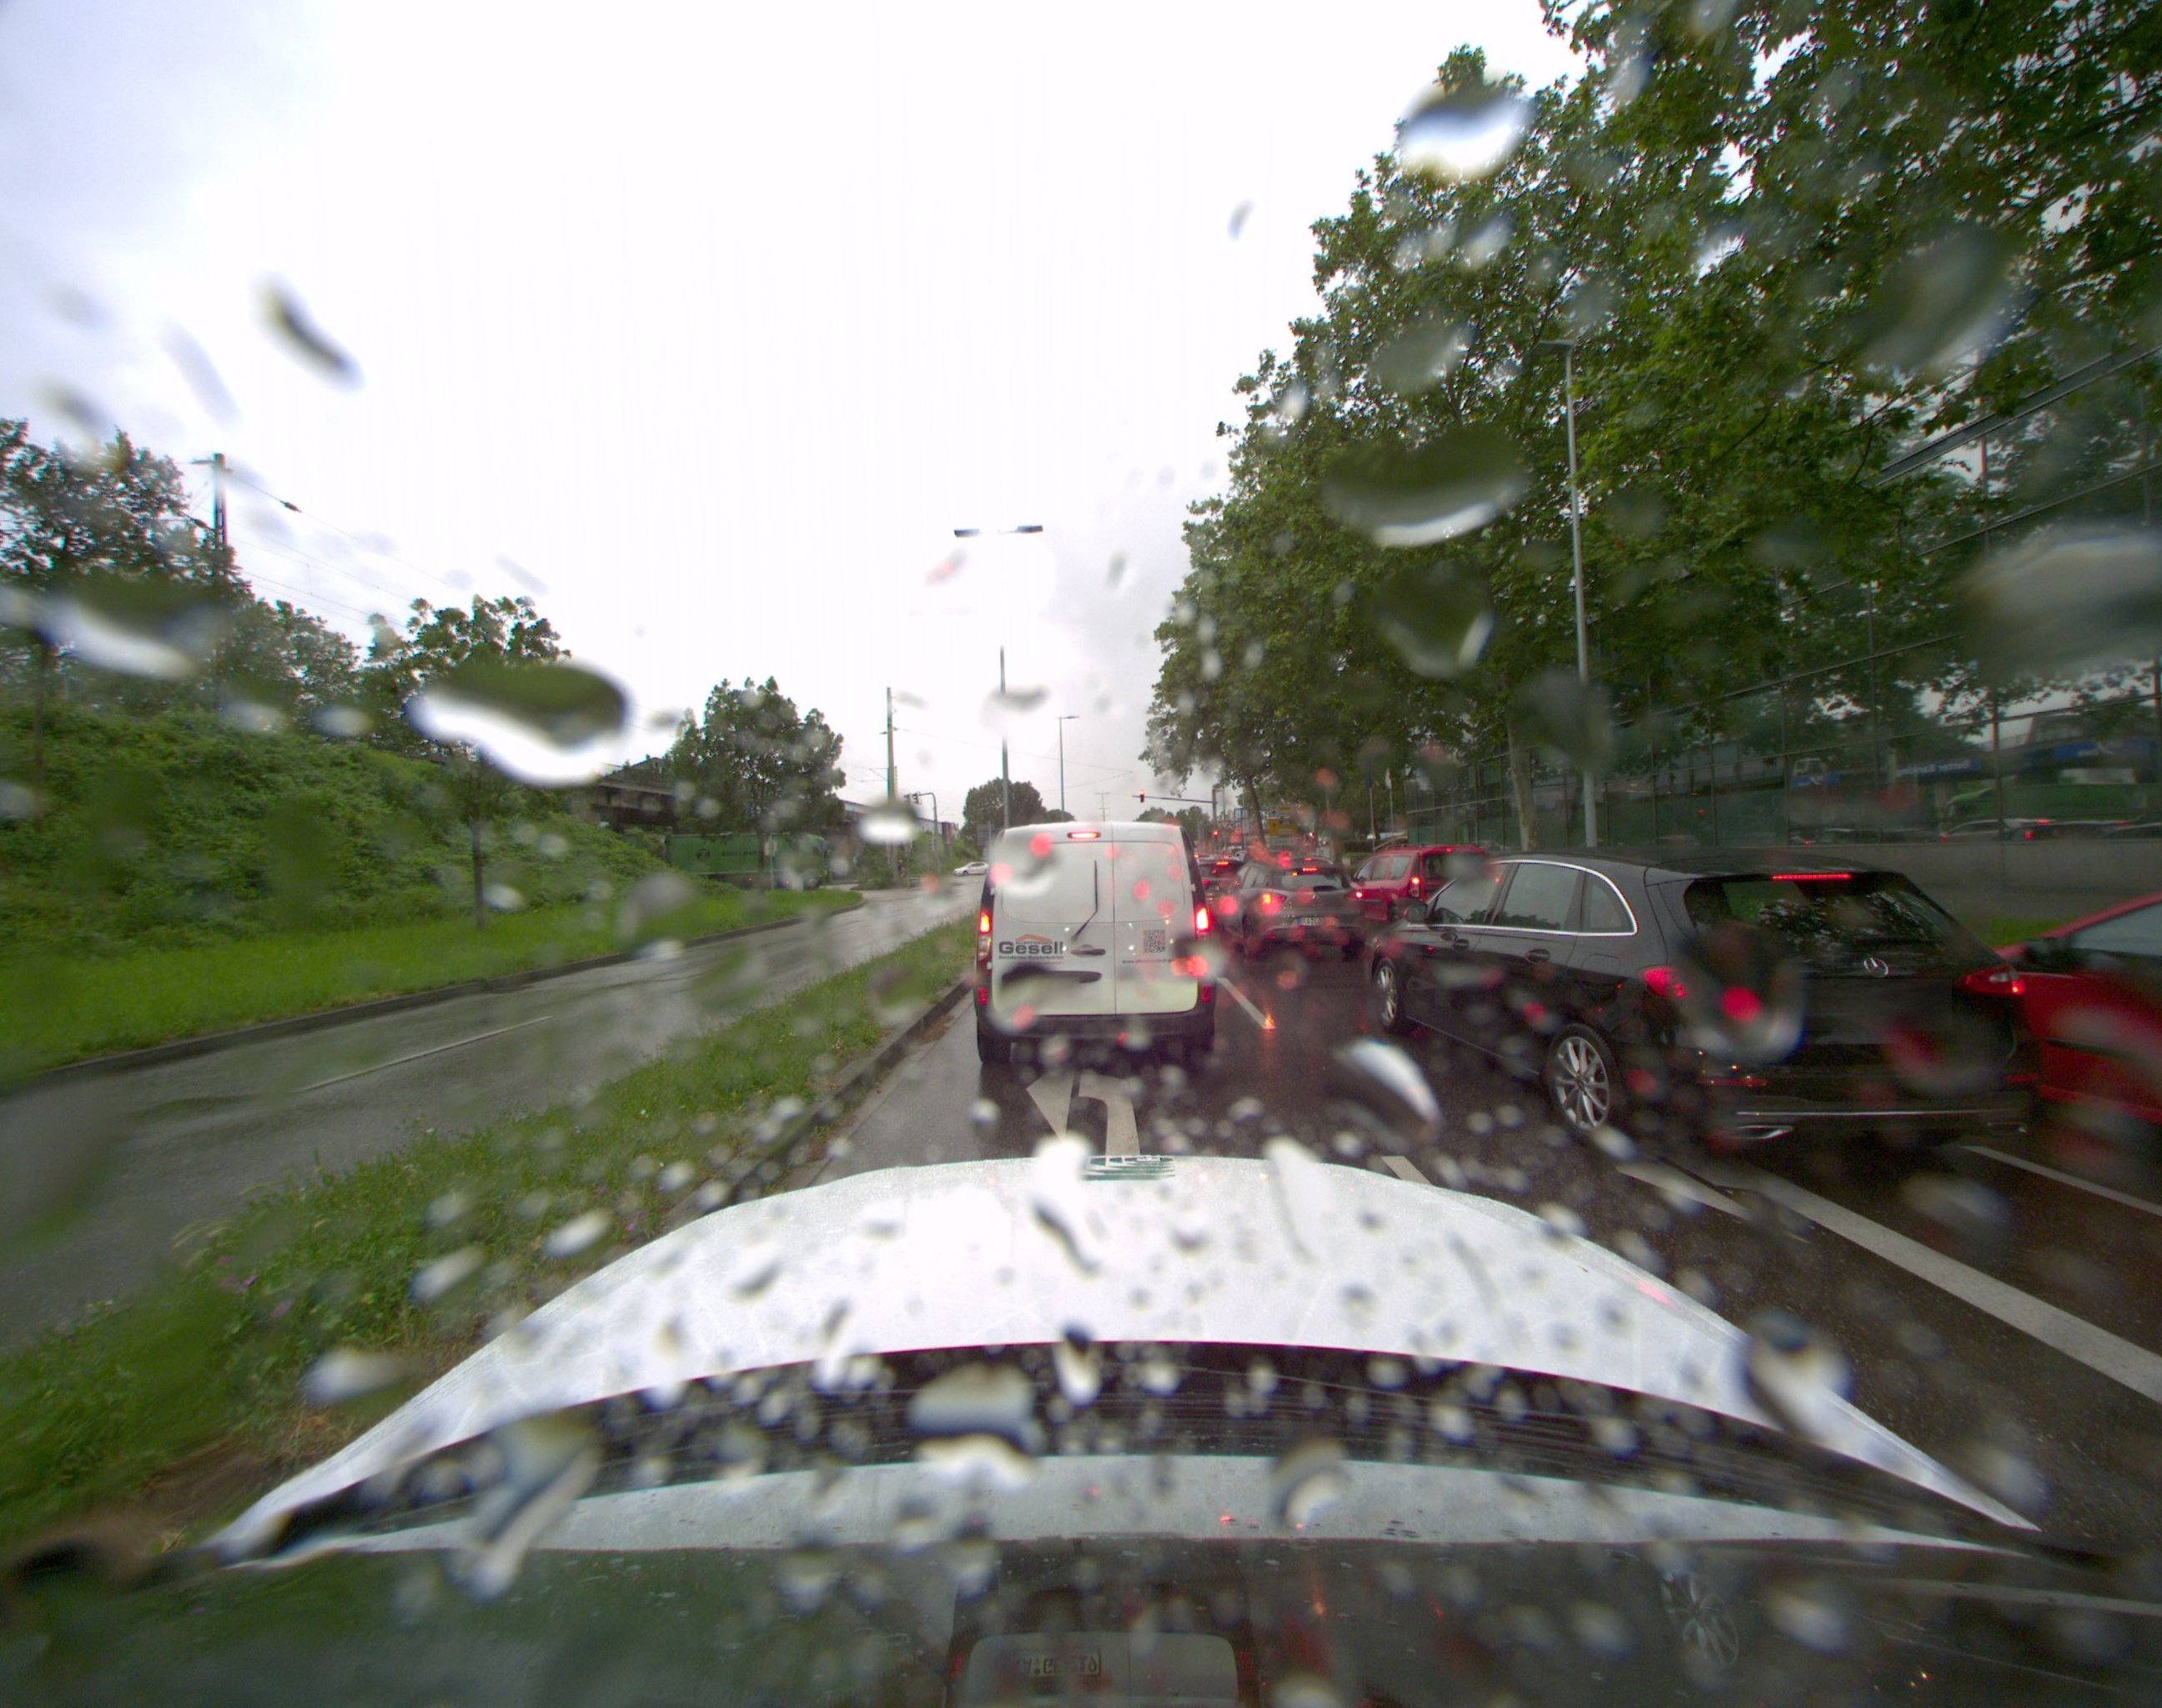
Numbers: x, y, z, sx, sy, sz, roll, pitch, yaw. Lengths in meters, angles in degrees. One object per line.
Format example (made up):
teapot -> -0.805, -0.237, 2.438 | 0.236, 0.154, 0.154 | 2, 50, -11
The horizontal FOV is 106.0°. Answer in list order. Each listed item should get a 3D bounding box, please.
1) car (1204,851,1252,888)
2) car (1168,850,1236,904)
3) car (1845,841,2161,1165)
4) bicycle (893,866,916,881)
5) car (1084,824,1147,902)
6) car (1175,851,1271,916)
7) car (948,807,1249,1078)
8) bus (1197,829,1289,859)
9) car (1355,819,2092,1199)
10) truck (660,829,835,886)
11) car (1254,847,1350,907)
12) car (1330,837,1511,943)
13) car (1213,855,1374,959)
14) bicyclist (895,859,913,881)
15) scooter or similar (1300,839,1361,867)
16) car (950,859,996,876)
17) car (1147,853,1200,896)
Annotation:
car -> 6.901, 0.712, 38.613 | 1.702, 1.650, 3.844 | -1, -1, 2
car -> 4.056, 0.729, 27.901 | 1.847, 1.649, 3.844 | -1, 0, 2
car -> 5.676, 0.668, 3.535 | 1.563, 1.462, 3.390 | -1, 0, 1
bicycle -> -12.160, 1.332, 56.011 | 1.045, 0.952, 2.866 | -2, 0, -22
car -> 1.092, 0.261, 26.469 | 1.847, 2.296, 3.844 | -1, 0, 2
car -> 3.498, 0.672, 20.682 | 1.847, 1.460, 3.844 | -1, 0, 2
car -> 0.189, 0.590, 7.772 | 1.986, 1.776, 4.587 | -1, 0, 2
bus -> 21.889, -1.351, 110.591 | 11.926, 3.423, 2.316 | -2, 0, 1
car -> 3.372, 0.649, 5.449 | 1.741, 1.554, 4.091 | -1, 0, 1
truck -> -21.262, 0.142, 52.397 | 10.105, 3.371, 2.322 | -2, 0, -35
car -> 6.421, 0.616, 24.113 | 1.869, 1.613, 4.002 | 0, 0, 2
car -> 6.123, 0.602, 15.255 | 1.704, 1.694, 4.273 | 0, -1, 2
car -> 3.244, 0.739, 13.161 | 1.677, 1.408, 3.844 | 0, 0, 1
bicyclist -> -12.127, 1.085, 55.892 | 1.045, 1.450, 0.723 | -2, 0, -23
scooter or similar -> 23.446, -0.078, 76.685 | 1.905, 2.446, 5.257 | -1, 0, -39
car -> -11.236, 1.393, 84.847 | 4.265, 1.596, 1.979 | -2, 0, -33
car -> 3.751, 0.814, 33.574 | 1.847, 1.650, 3.844 | -1, -1, 2
